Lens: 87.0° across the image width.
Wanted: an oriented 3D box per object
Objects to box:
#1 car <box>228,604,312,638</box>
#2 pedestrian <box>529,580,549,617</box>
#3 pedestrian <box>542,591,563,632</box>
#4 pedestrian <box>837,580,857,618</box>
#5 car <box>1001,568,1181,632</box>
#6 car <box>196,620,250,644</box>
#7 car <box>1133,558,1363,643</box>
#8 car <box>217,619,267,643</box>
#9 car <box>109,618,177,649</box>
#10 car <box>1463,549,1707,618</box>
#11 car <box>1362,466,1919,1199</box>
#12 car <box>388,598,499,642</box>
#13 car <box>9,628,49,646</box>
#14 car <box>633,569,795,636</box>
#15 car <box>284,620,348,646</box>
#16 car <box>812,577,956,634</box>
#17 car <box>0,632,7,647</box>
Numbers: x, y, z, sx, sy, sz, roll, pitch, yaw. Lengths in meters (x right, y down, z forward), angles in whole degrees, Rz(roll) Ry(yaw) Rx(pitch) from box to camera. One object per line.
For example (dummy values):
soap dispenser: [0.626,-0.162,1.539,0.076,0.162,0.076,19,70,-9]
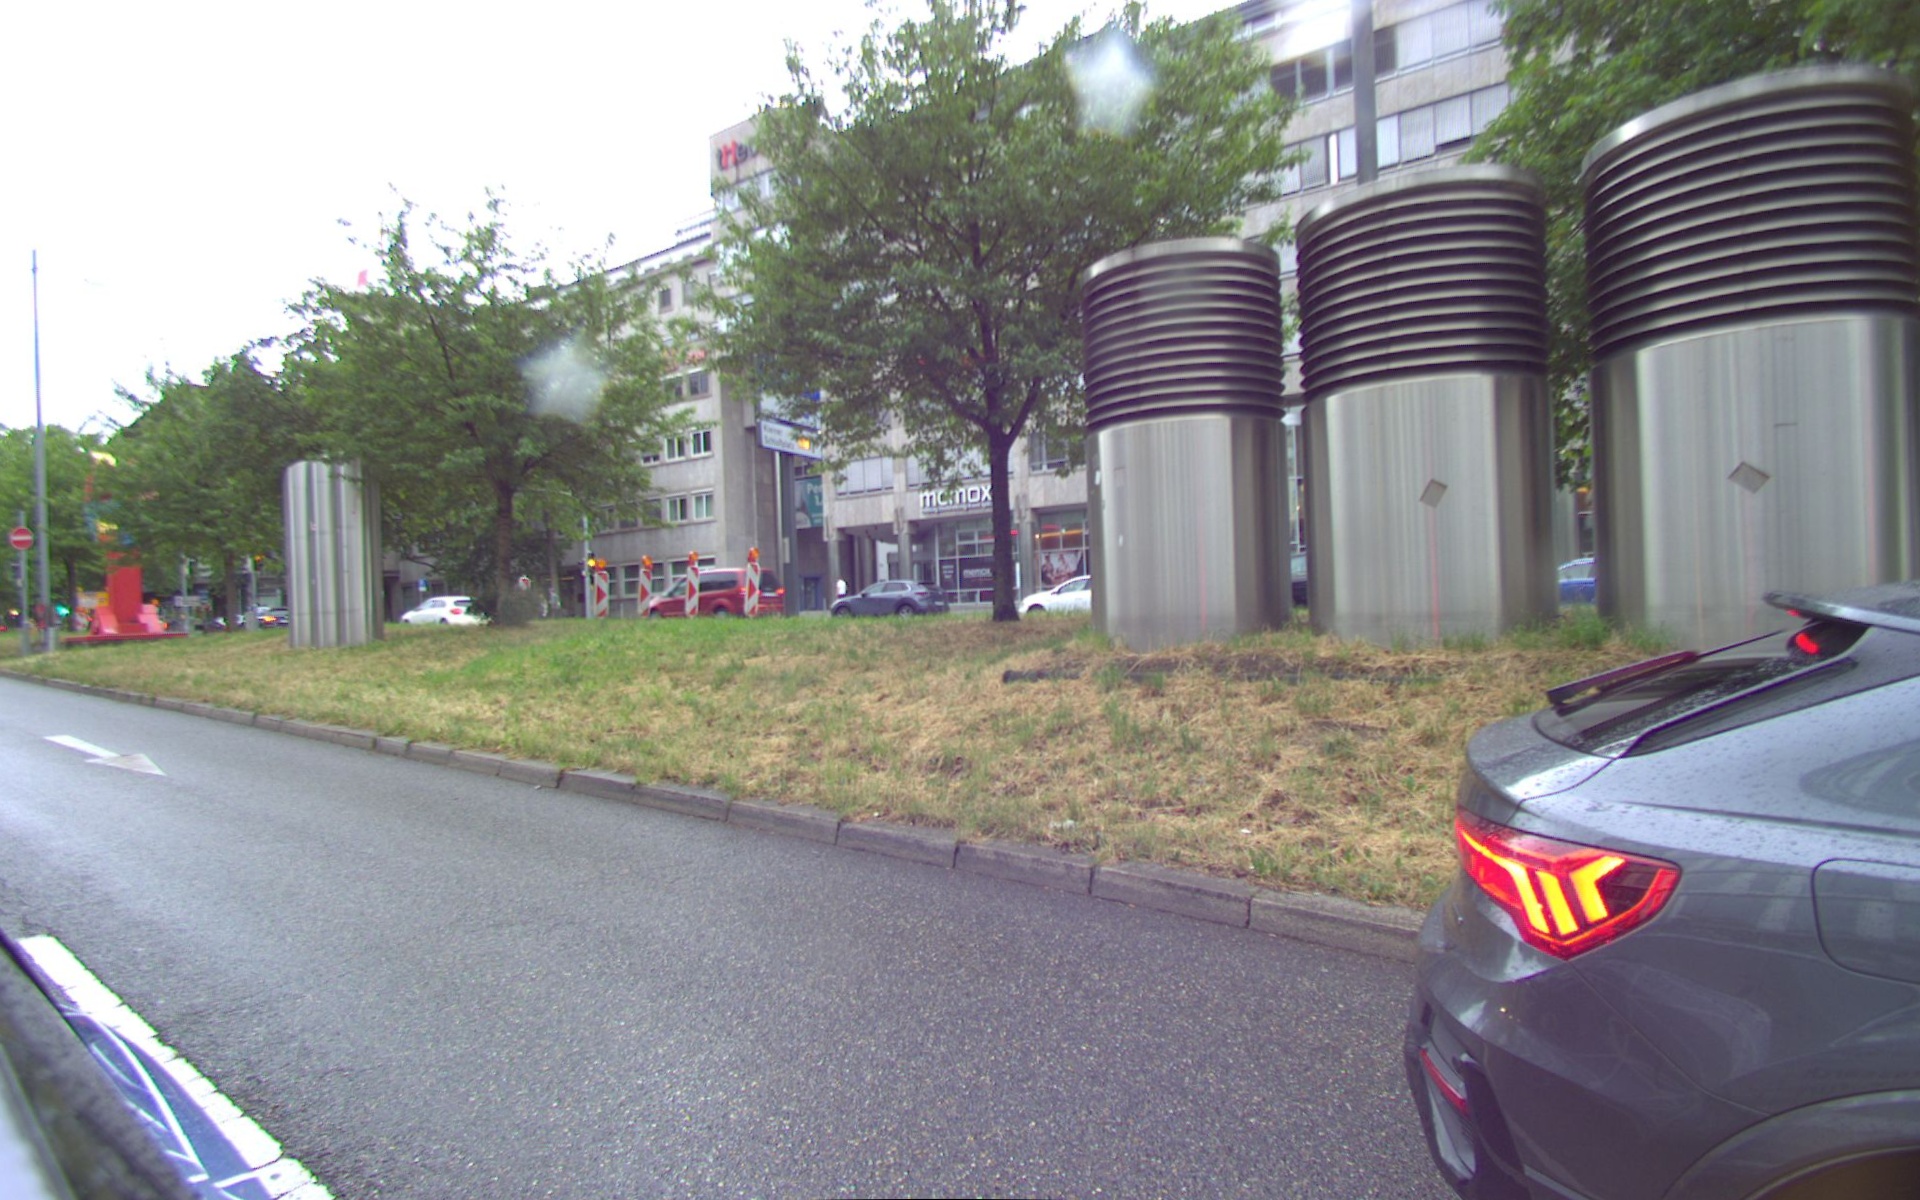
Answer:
car: [-32.531,0.974,47.717,3.987,1.486,1.853,-2,0,33]
pedestrian: [-18.984,-0.066,45.637,0.619,1.641,0.599,-2,0,41]
pedestrian: [-18.198,0.519,45.165,0.721,1.801,0.522,-2,0,42]
pedestrian: [-5.472,-0.071,49.044,0.528,1.801,0.712,-2,0,37]
car: [3.709,0.037,29.123,4.905,1.634,1.759,-2,-1,38]
car: [-50.463,2.187,69.277,4.568,1.498,1.769,-2,-1,38]
car: [5.660,0.024,20.021,3.990,1.497,1.790,-1,2,35]
car: [-47.049,2.043,66.256,3.687,1.514,1.670,-2,-1,38]
car: [-48.552,1.980,60.130,3.987,1.713,1.930,-2,0,33]
car: [13.854,-0.336,22.621,4.465,1.335,1.876,-2,0,34]
car: [2.876,0.583,0.974,4.247,1.628,1.830,-2,0,39]
car: [-19.250,0.754,37.661,4.180,1.486,1.805,-2,0,33]
car: [-76.677,3.050,83.312,4.127,1.440,1.843,-2,-1,39]
car: [-6.937,0.095,28.402,4.568,1.740,1.711,-2,0,33]
car: [-38.560,2.002,60.559,4.559,1.440,1.844,-2,-1,38]
car: [-2.580,0.212,33.681,4.785,1.739,1.844,-2,-1,38]
car: [-96.164,3.975,100.357,4.561,1.440,1.843,-2,-1,40]
